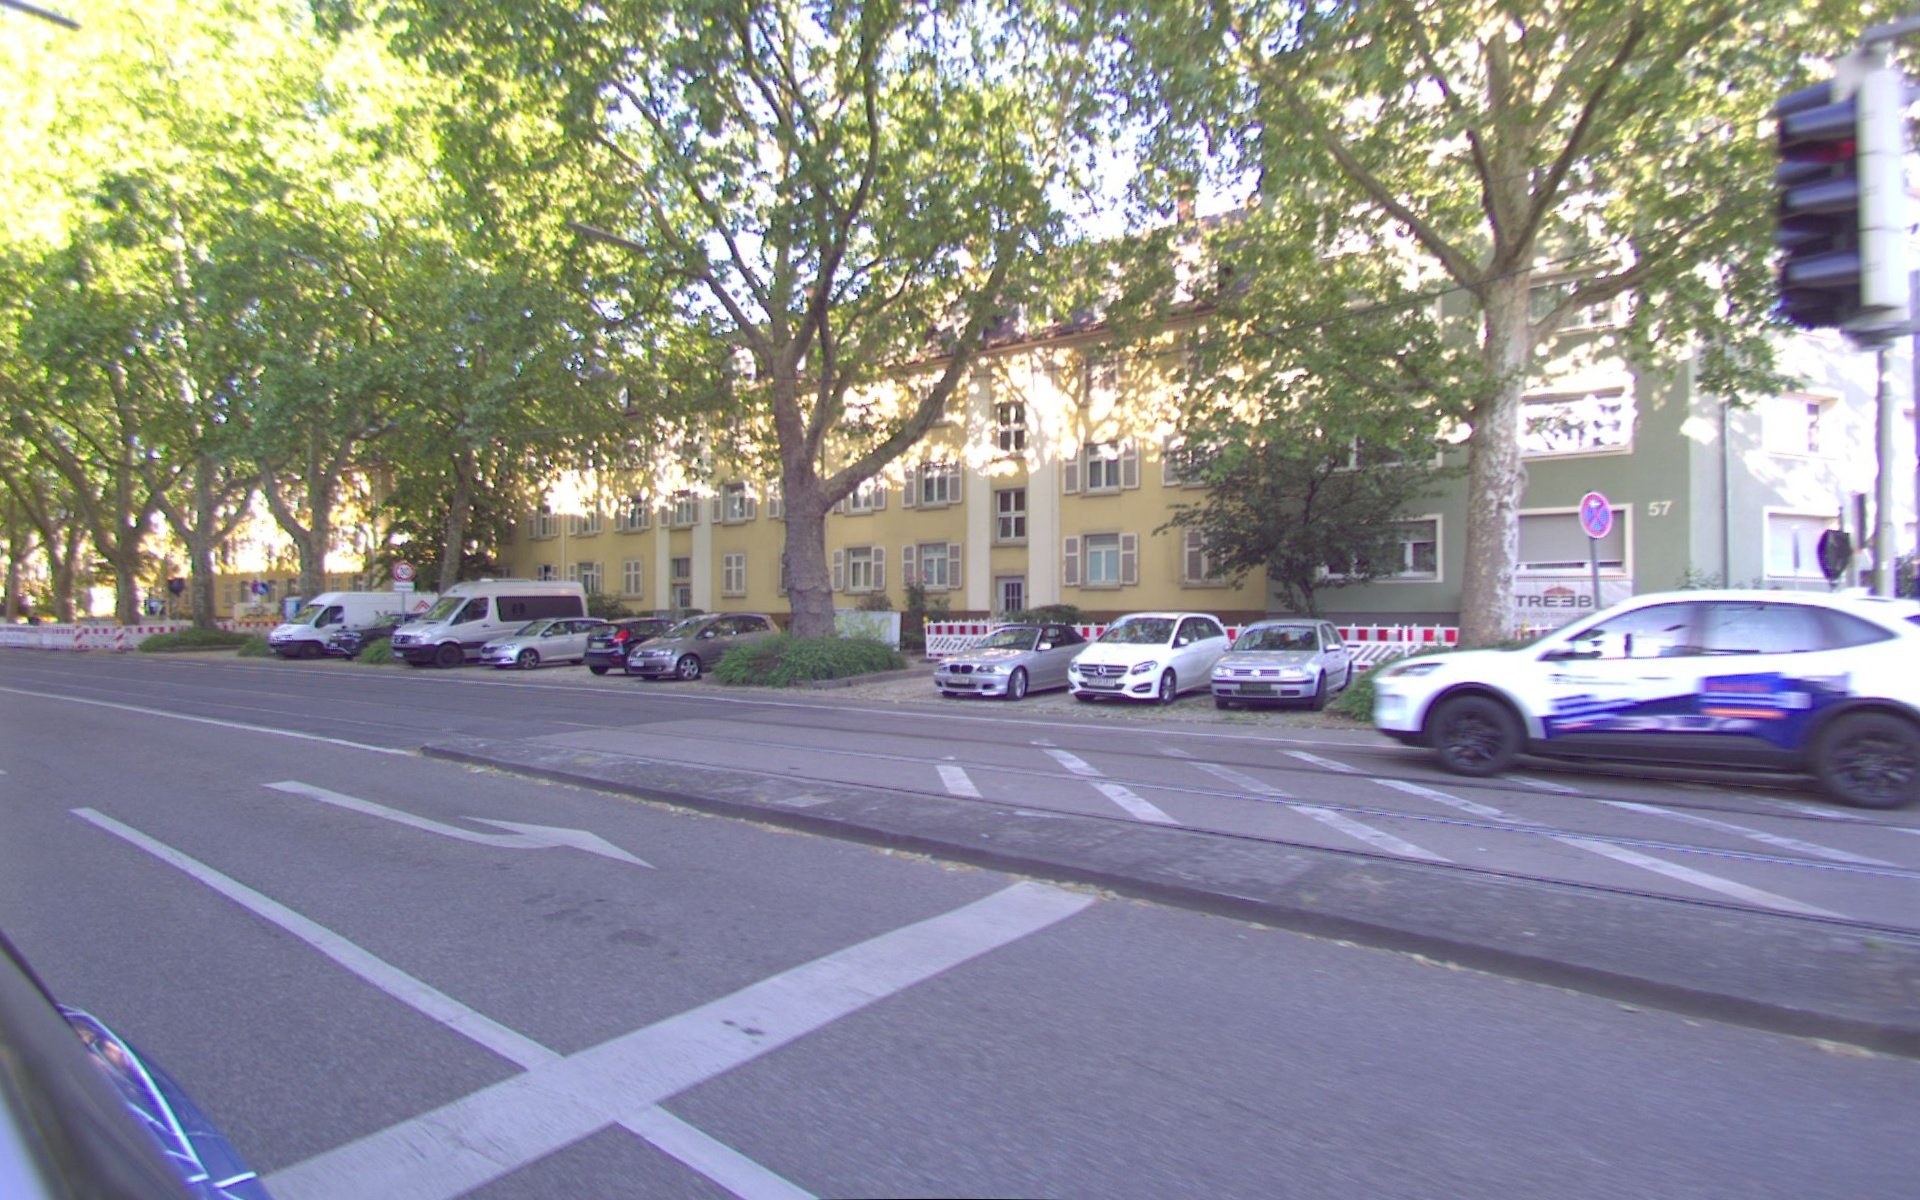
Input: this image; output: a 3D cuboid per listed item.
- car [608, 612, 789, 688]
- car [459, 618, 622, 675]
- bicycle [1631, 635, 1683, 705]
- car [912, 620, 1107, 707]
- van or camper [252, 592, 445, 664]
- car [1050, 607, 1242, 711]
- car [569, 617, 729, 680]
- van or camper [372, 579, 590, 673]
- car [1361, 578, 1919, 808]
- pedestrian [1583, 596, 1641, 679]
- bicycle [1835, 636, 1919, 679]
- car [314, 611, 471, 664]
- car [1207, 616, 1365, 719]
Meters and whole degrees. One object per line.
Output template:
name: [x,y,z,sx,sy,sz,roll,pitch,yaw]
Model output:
car: [-6.333,1.140,24.872,1.842,1.631,4.032,0,0,38]
car: [-12.379,1.321,30.074,1.691,1.457,4.225,0,0,38]
bicycle: [9.750,0.956,14.186,0.356,0.895,1.559,-1,-1,26]
car: [1.058,1.145,19.739,1.842,1.379,4.032,0,0,38]
van or camper: [-22.261,0.923,37.092,2.152,2.403,5.696,0,0,37]
car: [3.509,0.972,18.545,1.842,1.624,4.032,0,0,38]
car: [-8.187,1.222,26.906,1.691,1.457,3.815,0,0,38]
van or camper: [-14.723,0.712,31.498,2.152,2.668,5.862,0,0,37]
car: [6.171,0.701,8.914,4.617,1.644,1.977,-1,-2,34]
pedestrian: [12.615,0.719,19.595,0.735,1.580,0.600,0,-1,11]
bicycle: [17.310,1.067,18.850,1.754,0.765,0.358,0,-1,-4]
car: [-19.644,1.247,35.227,1.691,1.645,4.486,0,0,38]
car: [5.617,1.040,17.130,1.698,1.428,3.957,0,0,31]
